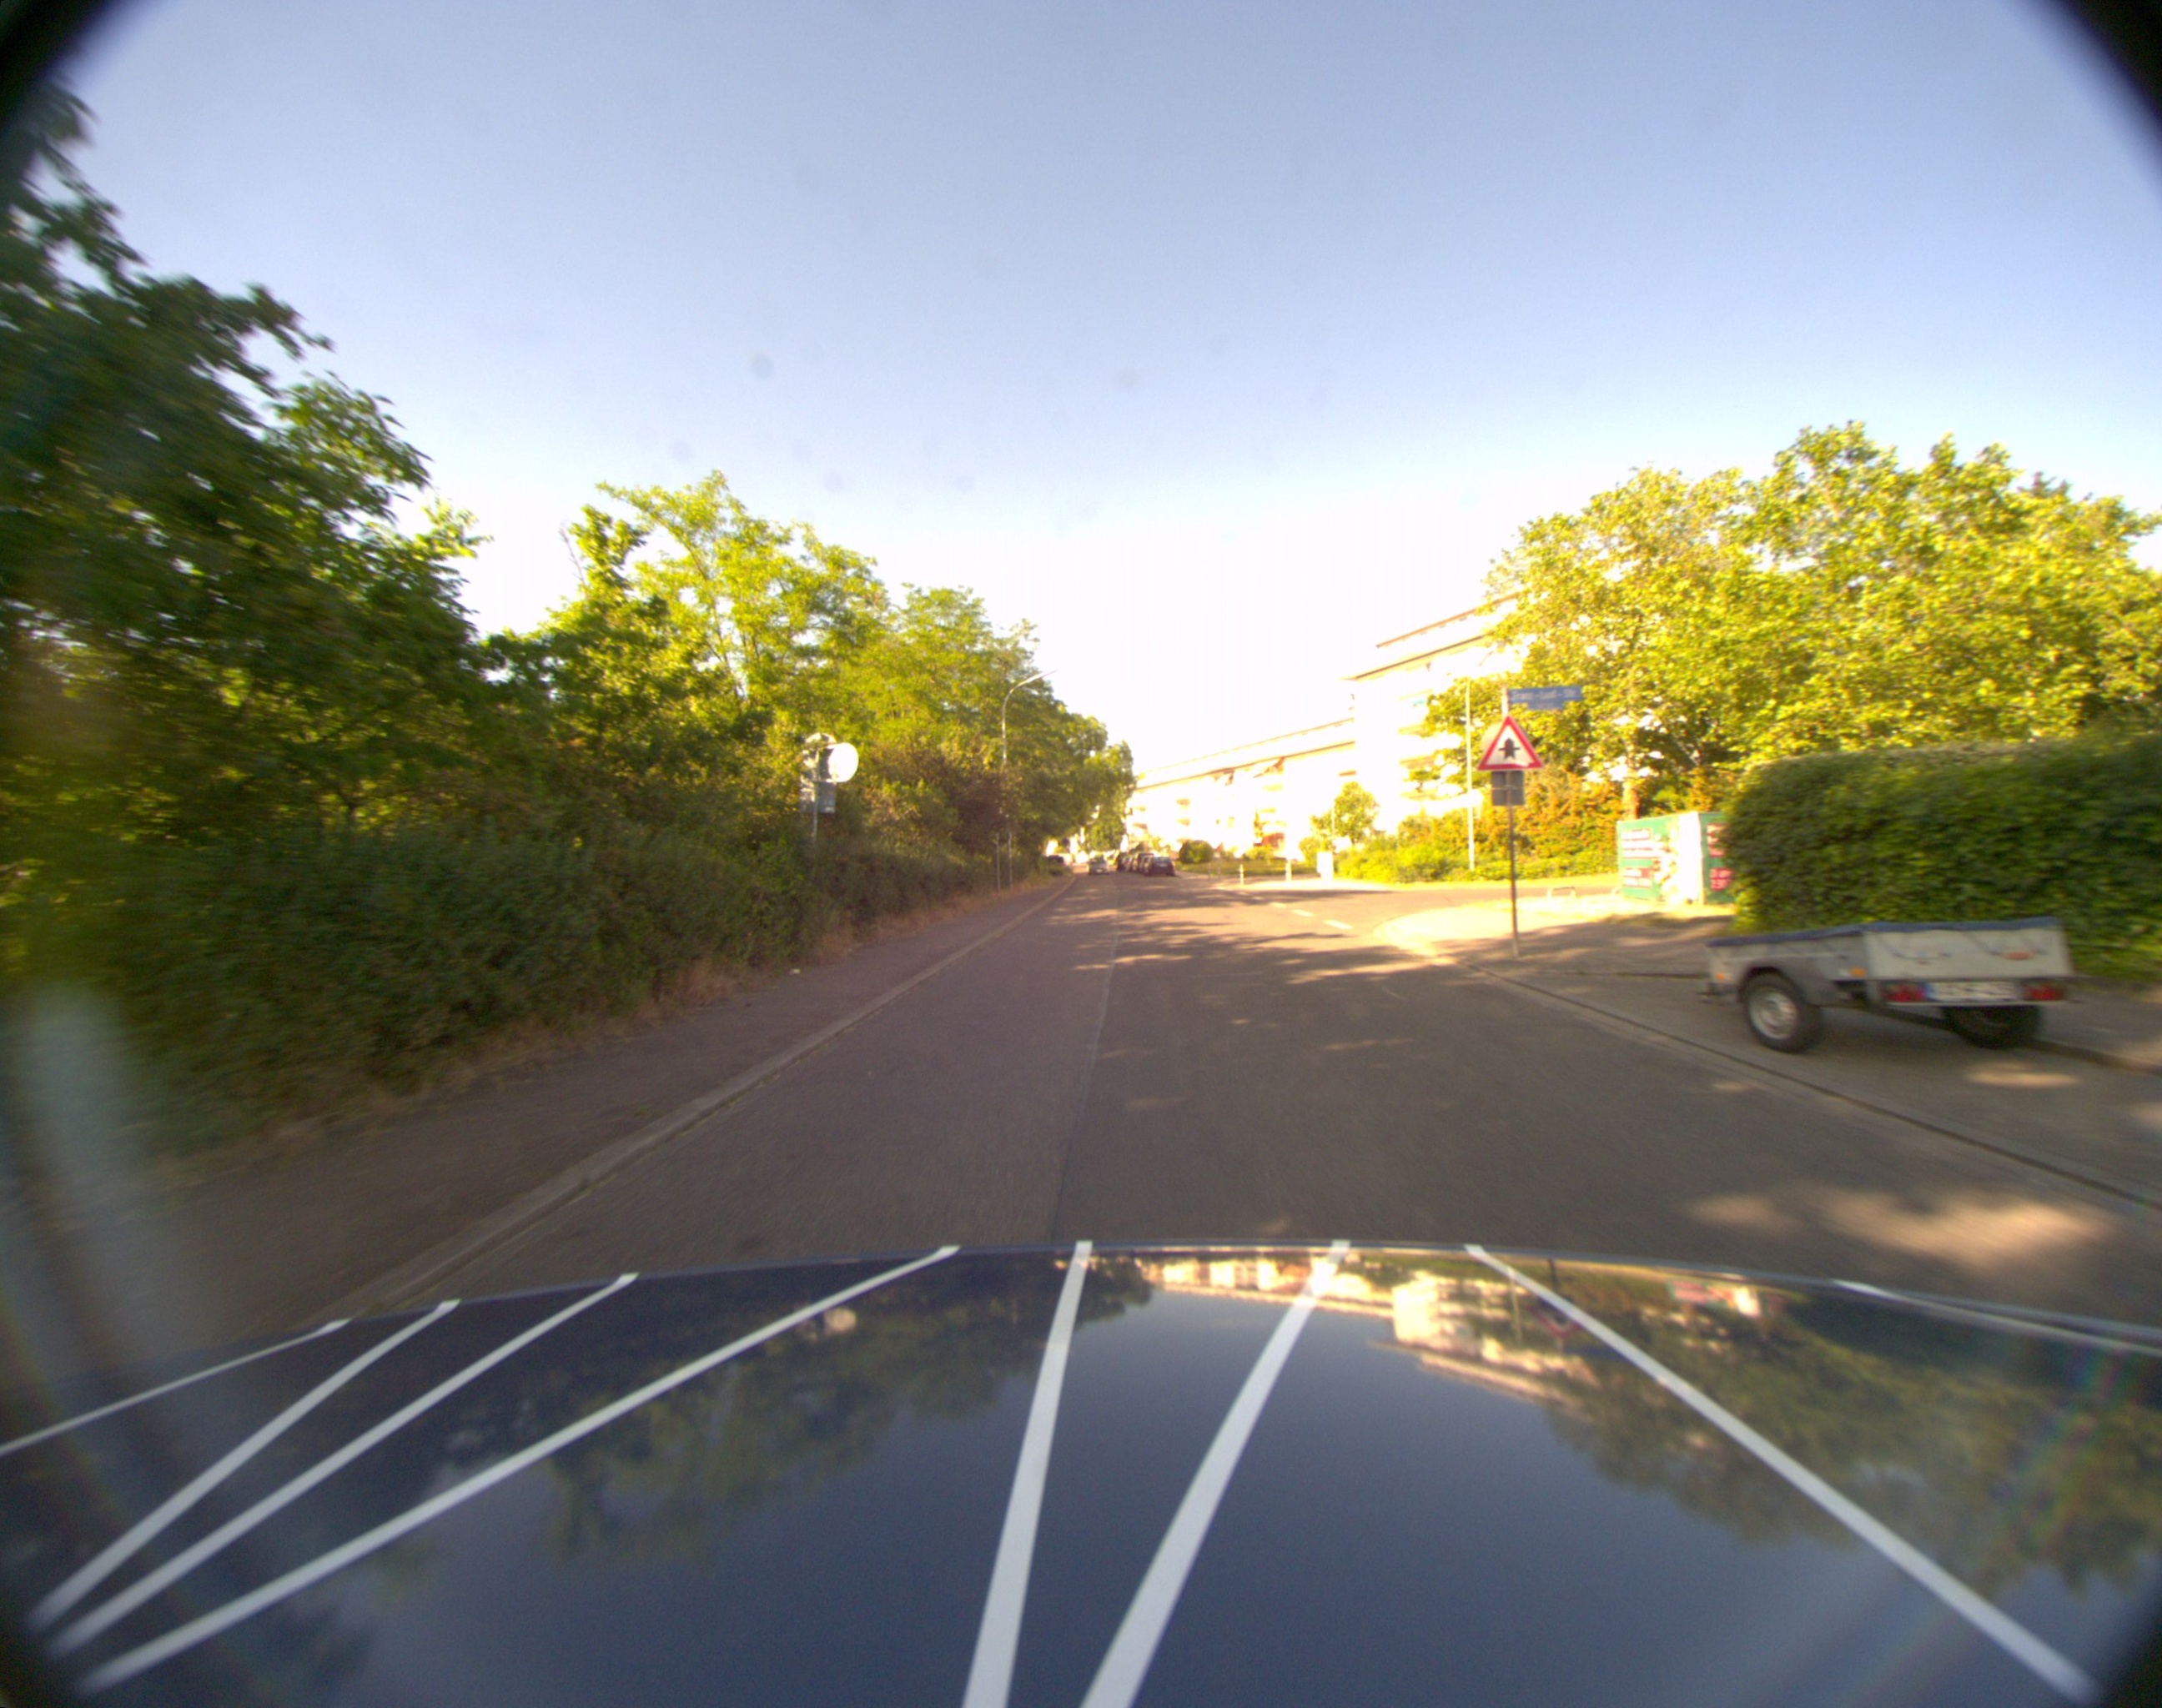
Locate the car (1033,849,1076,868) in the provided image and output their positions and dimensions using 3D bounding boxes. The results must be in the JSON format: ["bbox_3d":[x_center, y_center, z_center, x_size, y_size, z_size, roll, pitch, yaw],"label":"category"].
[{"bbox_3d":[-2.823,0.469,81.702,4.462,2.005,2.021,1,0,0],"label":"car"}]

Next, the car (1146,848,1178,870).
[{"bbox_3d":[5.697,0.343,54.160,1.732,1.455,4.682,1,0,0],"label":"car"}]

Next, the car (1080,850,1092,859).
[{"bbox_3d":[1.075,0.158,165.148,2.008,1.837,4.613,-2,1,-5],"label":"car"}]

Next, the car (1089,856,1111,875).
[{"bbox_3d":[1.520,0.893,62.987,1.597,1.417,4.170,2,0,-1],"label":"car"}]

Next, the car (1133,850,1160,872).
[{"bbox_3d":[5.760,0.584,67.388,1.844,1.770,4.887,1,0,0],"label":"car"}]

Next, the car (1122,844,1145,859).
[{"bbox_3d":[5.402,-0.224,79.105,1.845,1.473,4.799,1,0,-2],"label":"car"}]

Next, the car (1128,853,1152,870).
[{"bbox_3d":[5.648,0.677,73.415,1.845,1.473,4.574,2,0,-1],"label":"car"}]

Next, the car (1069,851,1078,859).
[{"bbox_3d":[-1.793,0.224,183.857,1.694,1.661,4.049,-1,0,-6],"label":"car"}]

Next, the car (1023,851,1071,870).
[{"bbox_3d":[-3.072,0.597,69.032,4.158,1.685,1.775,1,0,2],"label":"car"}]

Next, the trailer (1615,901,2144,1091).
[{"bbox_3d":[5.788,0.958,5.972,1.547,0.948,2.648,-2,1,7],"label":"trailer"}]

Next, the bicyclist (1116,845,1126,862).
[{"bbox_3d":[3.737,-0.055,70.945,0.847,1.648,1.064,0,1,1],"label":"bicyclist"}]

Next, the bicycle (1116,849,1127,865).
[{"bbox_3d":[3.741,0.264,70.697,0.853,1.362,3.220,0,1,1],"label":"bicycle"}]

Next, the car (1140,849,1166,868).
[{"bbox_3d":[5.719,0.381,60.838,1.844,1.446,4.019,1,0,2],"label":"car"}]
